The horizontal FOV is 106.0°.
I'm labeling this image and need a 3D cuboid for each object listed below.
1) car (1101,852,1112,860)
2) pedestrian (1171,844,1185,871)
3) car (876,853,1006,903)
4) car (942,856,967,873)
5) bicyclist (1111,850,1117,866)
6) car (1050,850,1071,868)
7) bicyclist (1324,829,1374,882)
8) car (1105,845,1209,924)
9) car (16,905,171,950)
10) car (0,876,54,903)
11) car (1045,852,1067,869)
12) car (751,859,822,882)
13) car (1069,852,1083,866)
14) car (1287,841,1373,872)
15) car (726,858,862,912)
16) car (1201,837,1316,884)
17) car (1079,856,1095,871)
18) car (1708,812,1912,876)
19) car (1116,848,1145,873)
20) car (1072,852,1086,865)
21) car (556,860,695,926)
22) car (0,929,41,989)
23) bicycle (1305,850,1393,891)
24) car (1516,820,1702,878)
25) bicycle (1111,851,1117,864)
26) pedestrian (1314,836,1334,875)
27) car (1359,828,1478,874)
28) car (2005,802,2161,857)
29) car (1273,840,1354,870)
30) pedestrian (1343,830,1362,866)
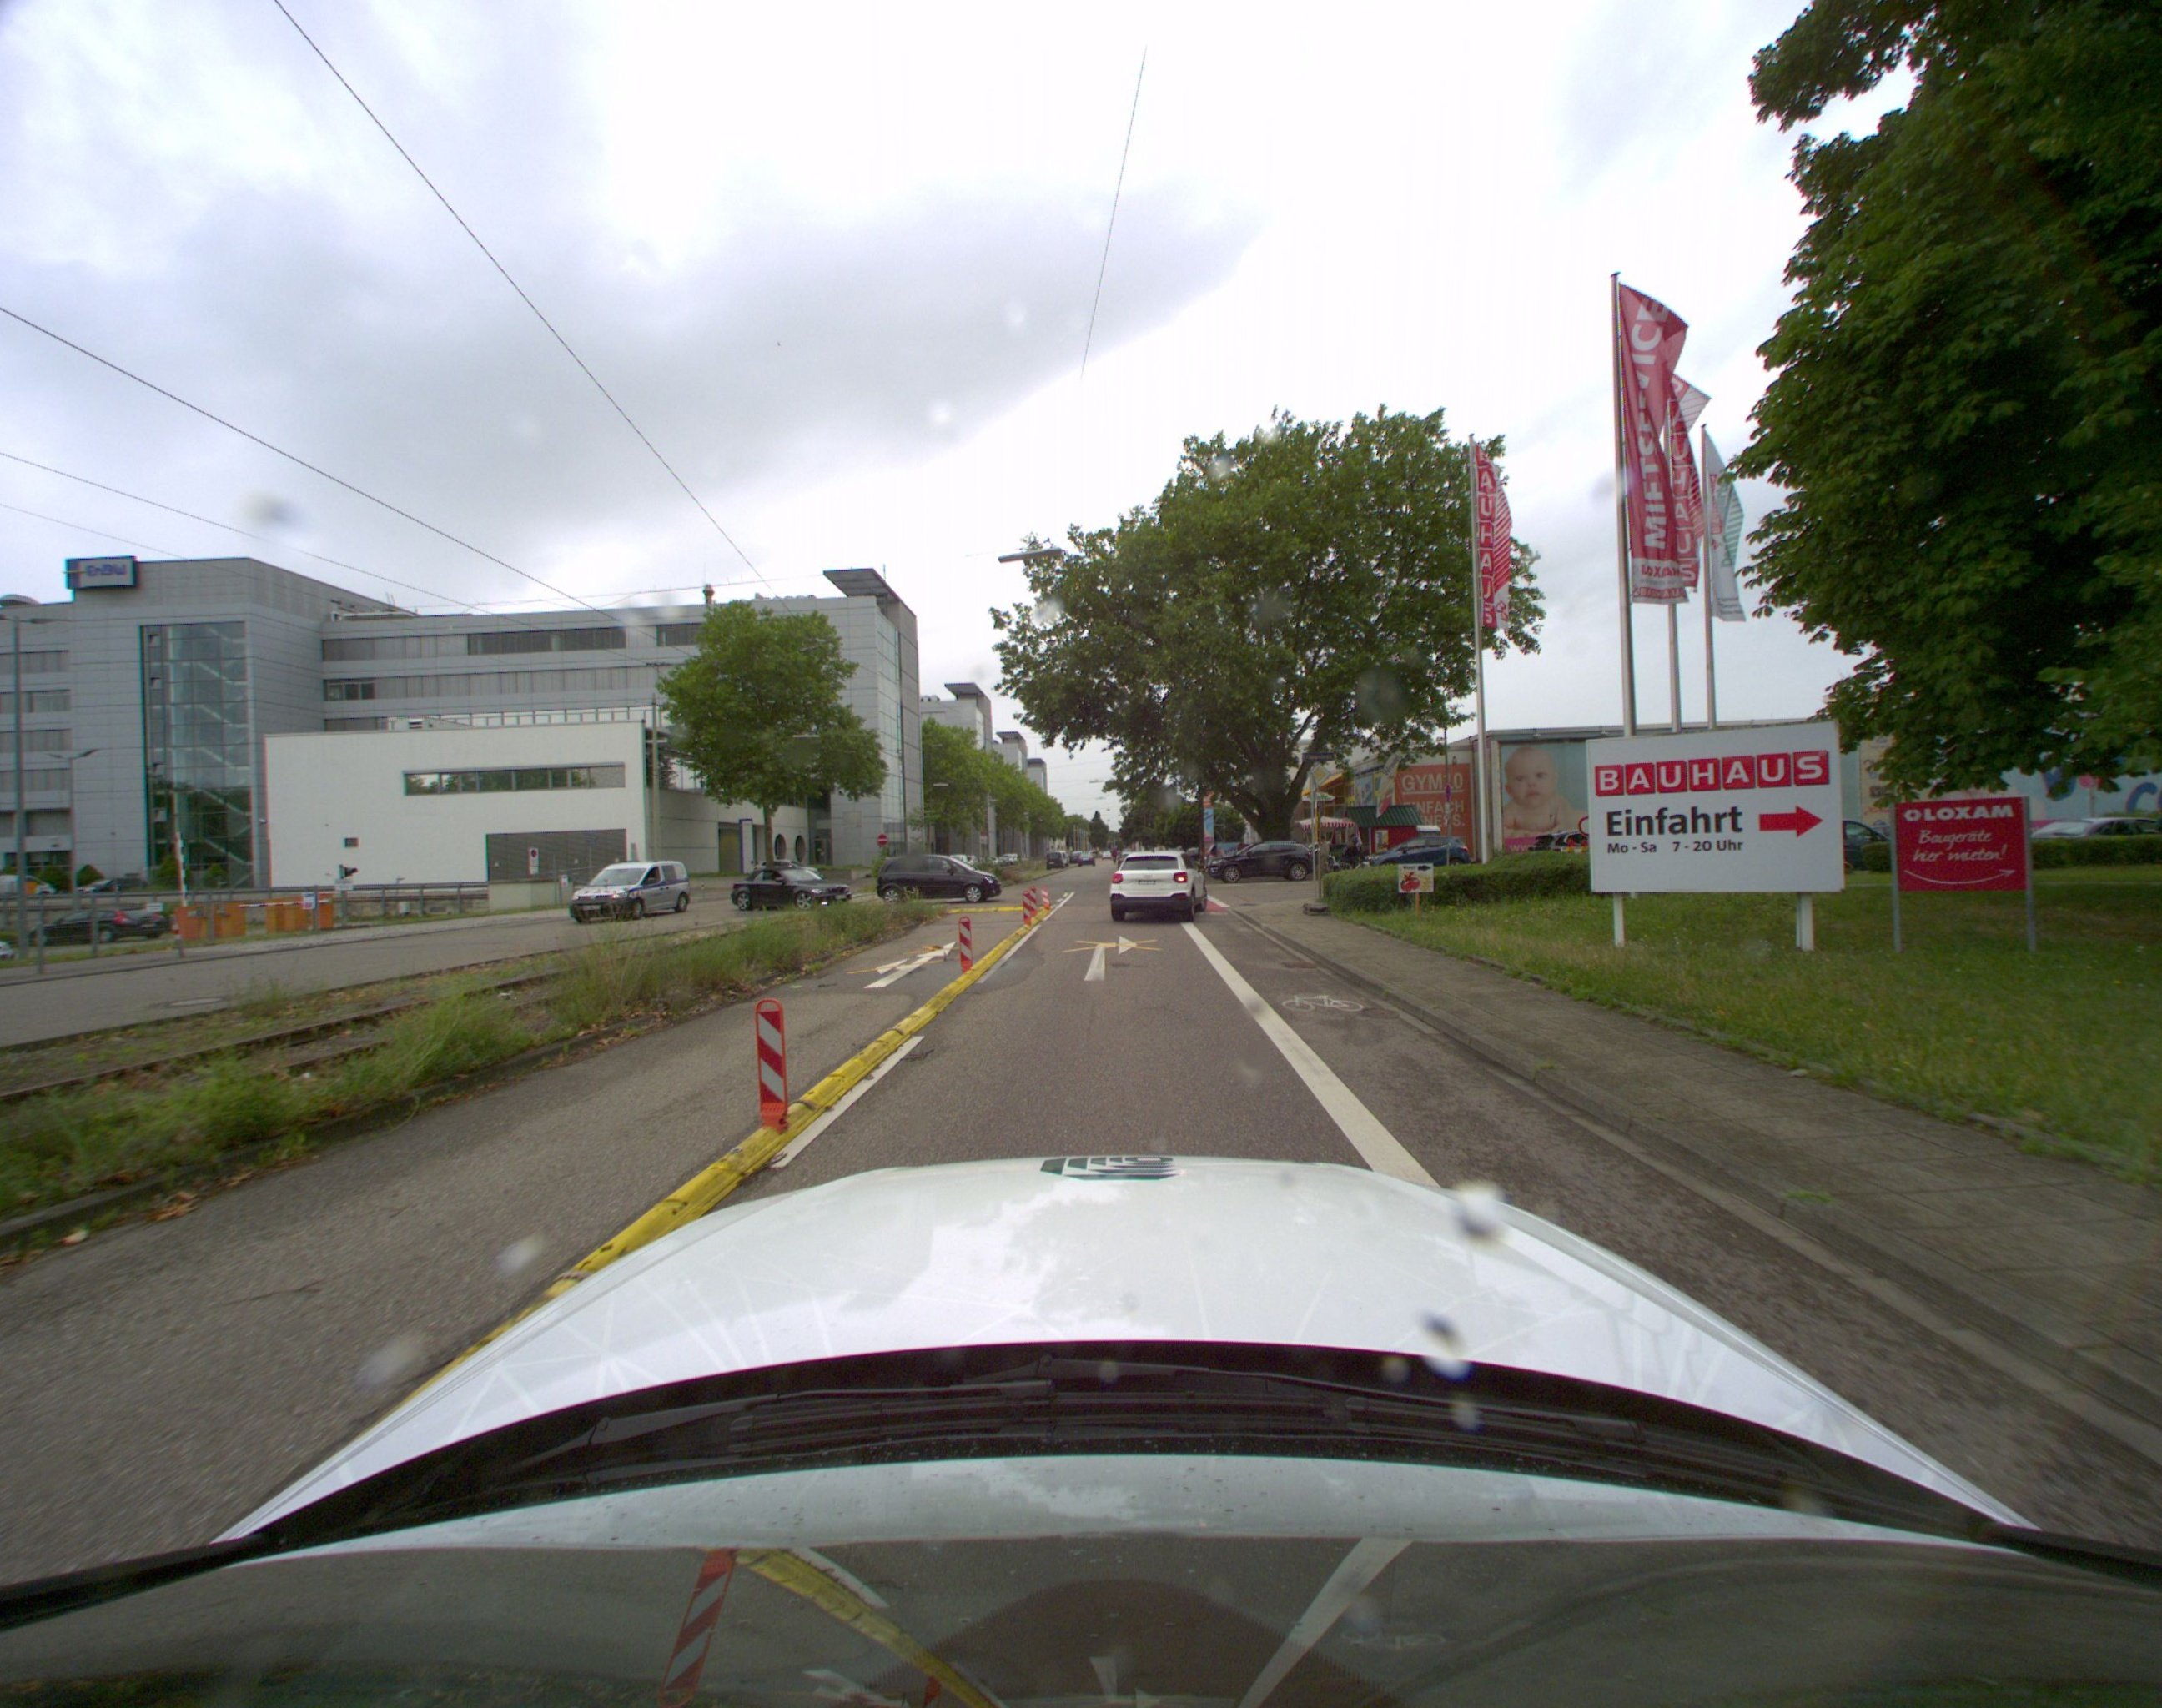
[{"bbox_3d":[4.693,0.340,150.779,1.789,1.513,3.705,-1,0,0],"label":"car"},{"bbox_3d":[6.331,0.248,53.024,0.758,1.704,0.681,-3,0,-2],"label":"pedestrian"},{"bbox_3d":[-4.511,0.776,26.650,3.868,1.556,1.826,0,0,2],"label":"car"},{"bbox_3d":[-13.429,1.099,86.697,1.870,1.632,4.207,-3,0,2],"label":"car"},{"bbox_3d":[3.819,0.417,93.896,0.668,1.815,0.760,-1,0,0],"label":"bicyclist"},{"bbox_3d":[-2.161,0.550,87.206,1.870,1.763,4.001,-3,0,2],"label":"car"},{"bbox_3d":[8.675,0.043,26.396,1.233,1.630,0.815,-2,0,-15],"label":"bicyclist"},{"bbox_3d":[1.843,0.616,18.682,1.810,1.600,3.790,-1,1,14],"label":"car"},{"bbox_3d":[-40.533,2.994,33.508,3.974,1.485,1.913,-2,0,0],"label":"car"},{"bbox_3d":[-83.893,2.807,63.308,1.985,2.013,4.655,-3,0,4],"label":"car"},{"bbox_3d":[-2.457,0.614,81.393,1.870,1.632,4.001,-3,0,2],"label":"car"},{"bbox_3d":[-21.553,1.177,59.708,4.497,1.670,1.825,0,0,-1],"label":"car"},{"bbox_3d":[-0.684,0.674,115.592,1.870,1.763,4.001,-3,0,2],"label":"car"},{"bbox_3d":[13.836,0.132,45.416,4.199,1.551,1.790,-2,0,0],"label":"car"},{"bbox_3d":[-9.241,0.998,26.136,4.077,1.475,1.837,-4,-2,30],"label":"car"},{"bbox_3d":[7.214,0.256,33.398,4.296,1.677,1.994,-2,0,3],"label":"car"},{"bbox_3d":[0.658,1.065,89.215,1.679,1.513,3.705,-1,0,0],"label":"car"},{"bbox_3d":[22.968,-0.321,25.810,4.535,1.790,2.075,-2,1,2],"label":"car"},{"bbox_3d":[3.455,0.451,57.373,1.870,1.632,4.001,-3,0,2],"label":"car"},{"bbox_3d":[-0.243,0.605,120.796,1.870,1.763,4.001,-3,0,2],"label":"car"},{"bbox_3d":[-14.104,1.140,25.543,1.814,1.783,4.425,-2,0,-1],"label":"car"},{"bbox_3d":[-30.232,2.867,21.119,3.974,1.485,1.913,-2,0,0],"label":"car"},{"bbox_3d":[8.698,0.519,26.397,2.679,1.212,0.815,-2,0,-16],"label":"bicycle"},{"bbox_3d":[16.551,-0.155,25.725,4.535,1.572,1.994,-2,0,2],"label":"car"},{"bbox_3d":[3.811,0.417,93.864,0.668,1.394,2.167,-1,0,0],"label":"bicycle"},{"bbox_3d":[11.148,0.066,37.367,0.677,1.704,0.598,-3,0,0],"label":"pedestrian"},{"bbox_3d":[13.871,-0.112,33.731,4.186,1.677,1.998,-2,0,10],"label":"car"},{"bbox_3d":[32.794,-0.784,25.792,4.535,1.572,2.075,-2,0,2],"label":"car"},{"bbox_3d":[13.516,0.041,47.577,4.199,1.551,1.790,-2,0,0],"label":"car"},{"bbox_3d":[13.378,-0.294,40.182,0.677,1.704,0.598,-3,0,0],"label":"pedestrian"}]
